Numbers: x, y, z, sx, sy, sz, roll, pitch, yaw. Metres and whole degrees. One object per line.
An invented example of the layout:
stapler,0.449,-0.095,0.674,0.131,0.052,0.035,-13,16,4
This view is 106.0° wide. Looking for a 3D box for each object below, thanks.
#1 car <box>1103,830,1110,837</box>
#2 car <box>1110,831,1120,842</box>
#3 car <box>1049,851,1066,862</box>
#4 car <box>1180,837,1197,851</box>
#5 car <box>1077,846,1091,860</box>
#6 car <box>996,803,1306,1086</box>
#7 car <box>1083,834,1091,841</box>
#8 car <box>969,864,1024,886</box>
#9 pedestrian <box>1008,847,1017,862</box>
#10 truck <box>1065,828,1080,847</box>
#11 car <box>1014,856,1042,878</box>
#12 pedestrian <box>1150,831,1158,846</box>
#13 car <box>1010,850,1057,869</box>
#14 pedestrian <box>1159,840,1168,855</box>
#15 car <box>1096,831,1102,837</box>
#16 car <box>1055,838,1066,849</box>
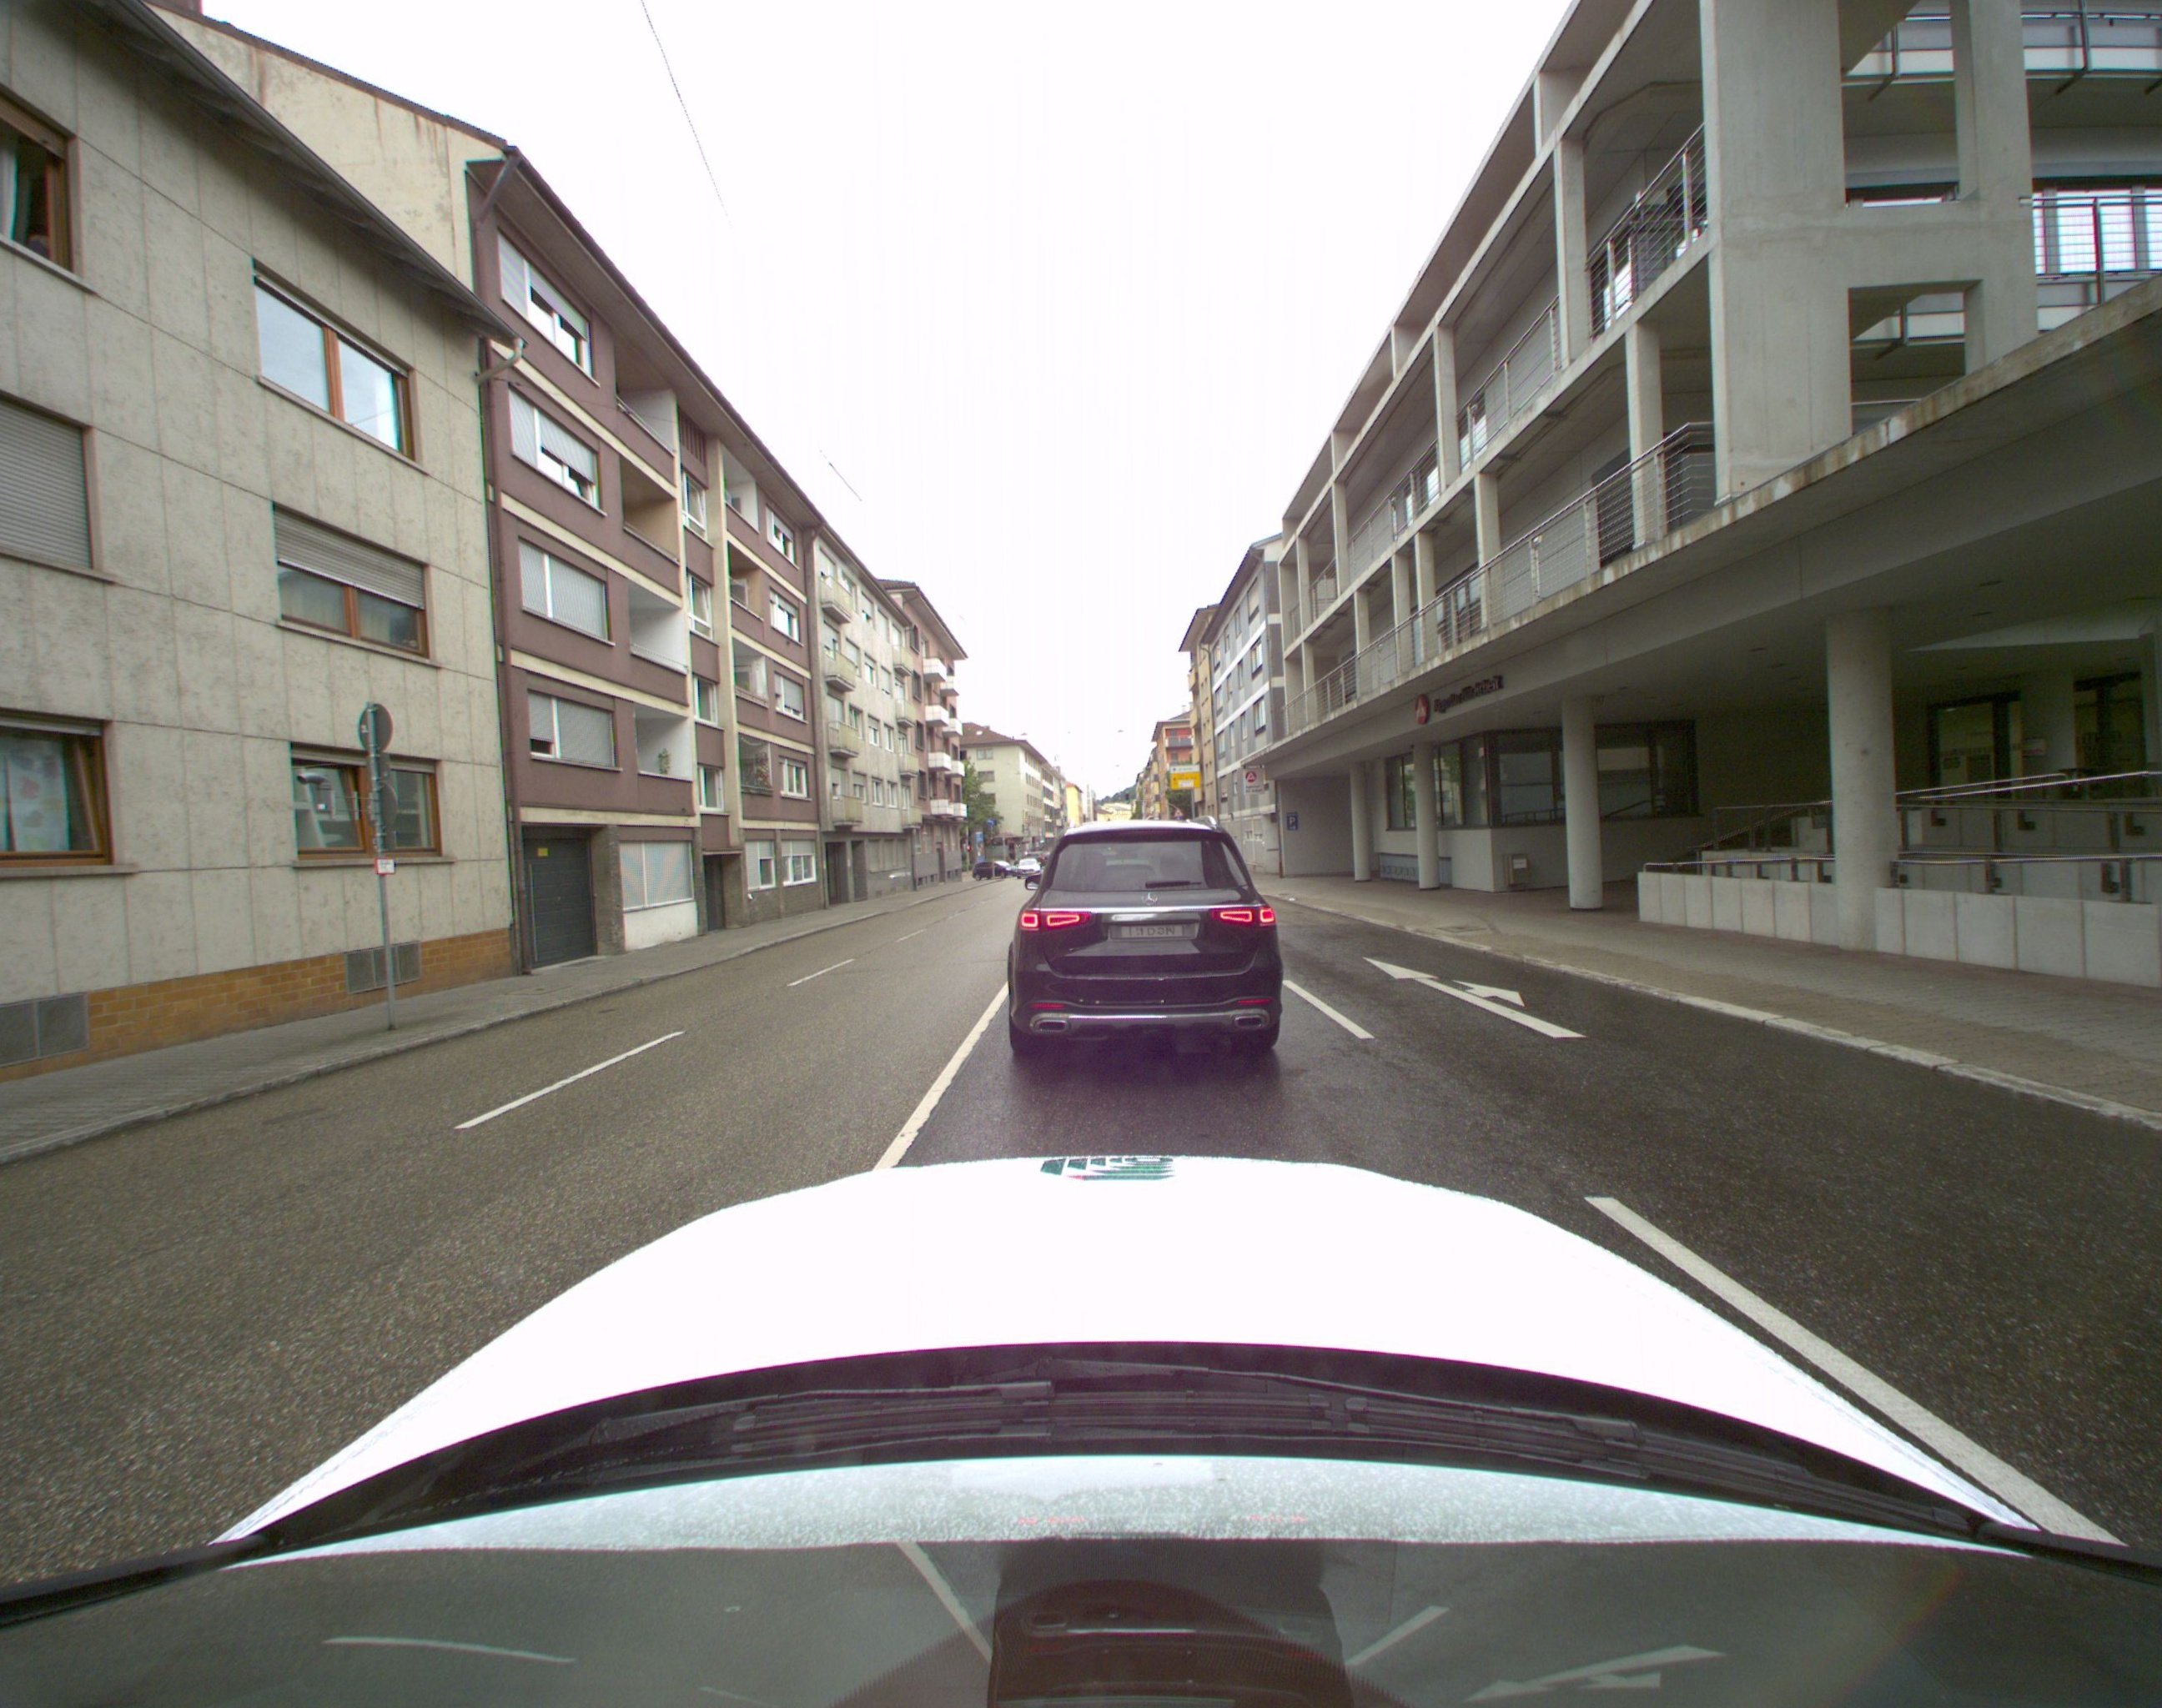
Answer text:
car,7.096,-5.677,226.078,1.613,1.539,4.216,-4,-1,0
car,6.898,-3.533,163.908,1.718,1.760,4.216,-4,-1,0
car,-2.887,0.330,100.687,1.879,1.264,4.216,-5,-1,0
car,12.471,-1.145,94.523,1.664,1.588,3.334,-3,0,4
car,0.377,-0.116,101.414,1.613,1.539,4.216,-4,-1,0
car,0.517,0.601,7.440,1.977,1.805,4.391,0,-1,2
car,1.442,-3.908,193.955,1.613,1.539,4.216,-4,-1,0
car,-7.405,1.830,71.566,4.312,1.706,2.012,-3,0,25
pedestrian,-8.653,0.039,102.449,0.920,1.902,0.706,-3,0,0
truck,-1.609,-3.139,157.355,2.472,3.046,9.917,-4,-1,0
car,-4.160,1.011,63.448,1.771,1.539,4.346,-4,-1,-8
pedestrian,9.713,-2.061,108.197,0.920,2.013,0.706,-3,0,0
car,-4.759,0.545,81.873,4.166,1.539,1.831,-5,-1,23
pedestrian,10.245,-0.811,101.440,0.920,1.804,0.706,-3,0,0
car,5.558,-6.013,250.478,1.613,1.539,4.216,-4,-1,0
car,-3.252,-1.692,131.935,1.613,1.539,4.216,-4,-1,0
